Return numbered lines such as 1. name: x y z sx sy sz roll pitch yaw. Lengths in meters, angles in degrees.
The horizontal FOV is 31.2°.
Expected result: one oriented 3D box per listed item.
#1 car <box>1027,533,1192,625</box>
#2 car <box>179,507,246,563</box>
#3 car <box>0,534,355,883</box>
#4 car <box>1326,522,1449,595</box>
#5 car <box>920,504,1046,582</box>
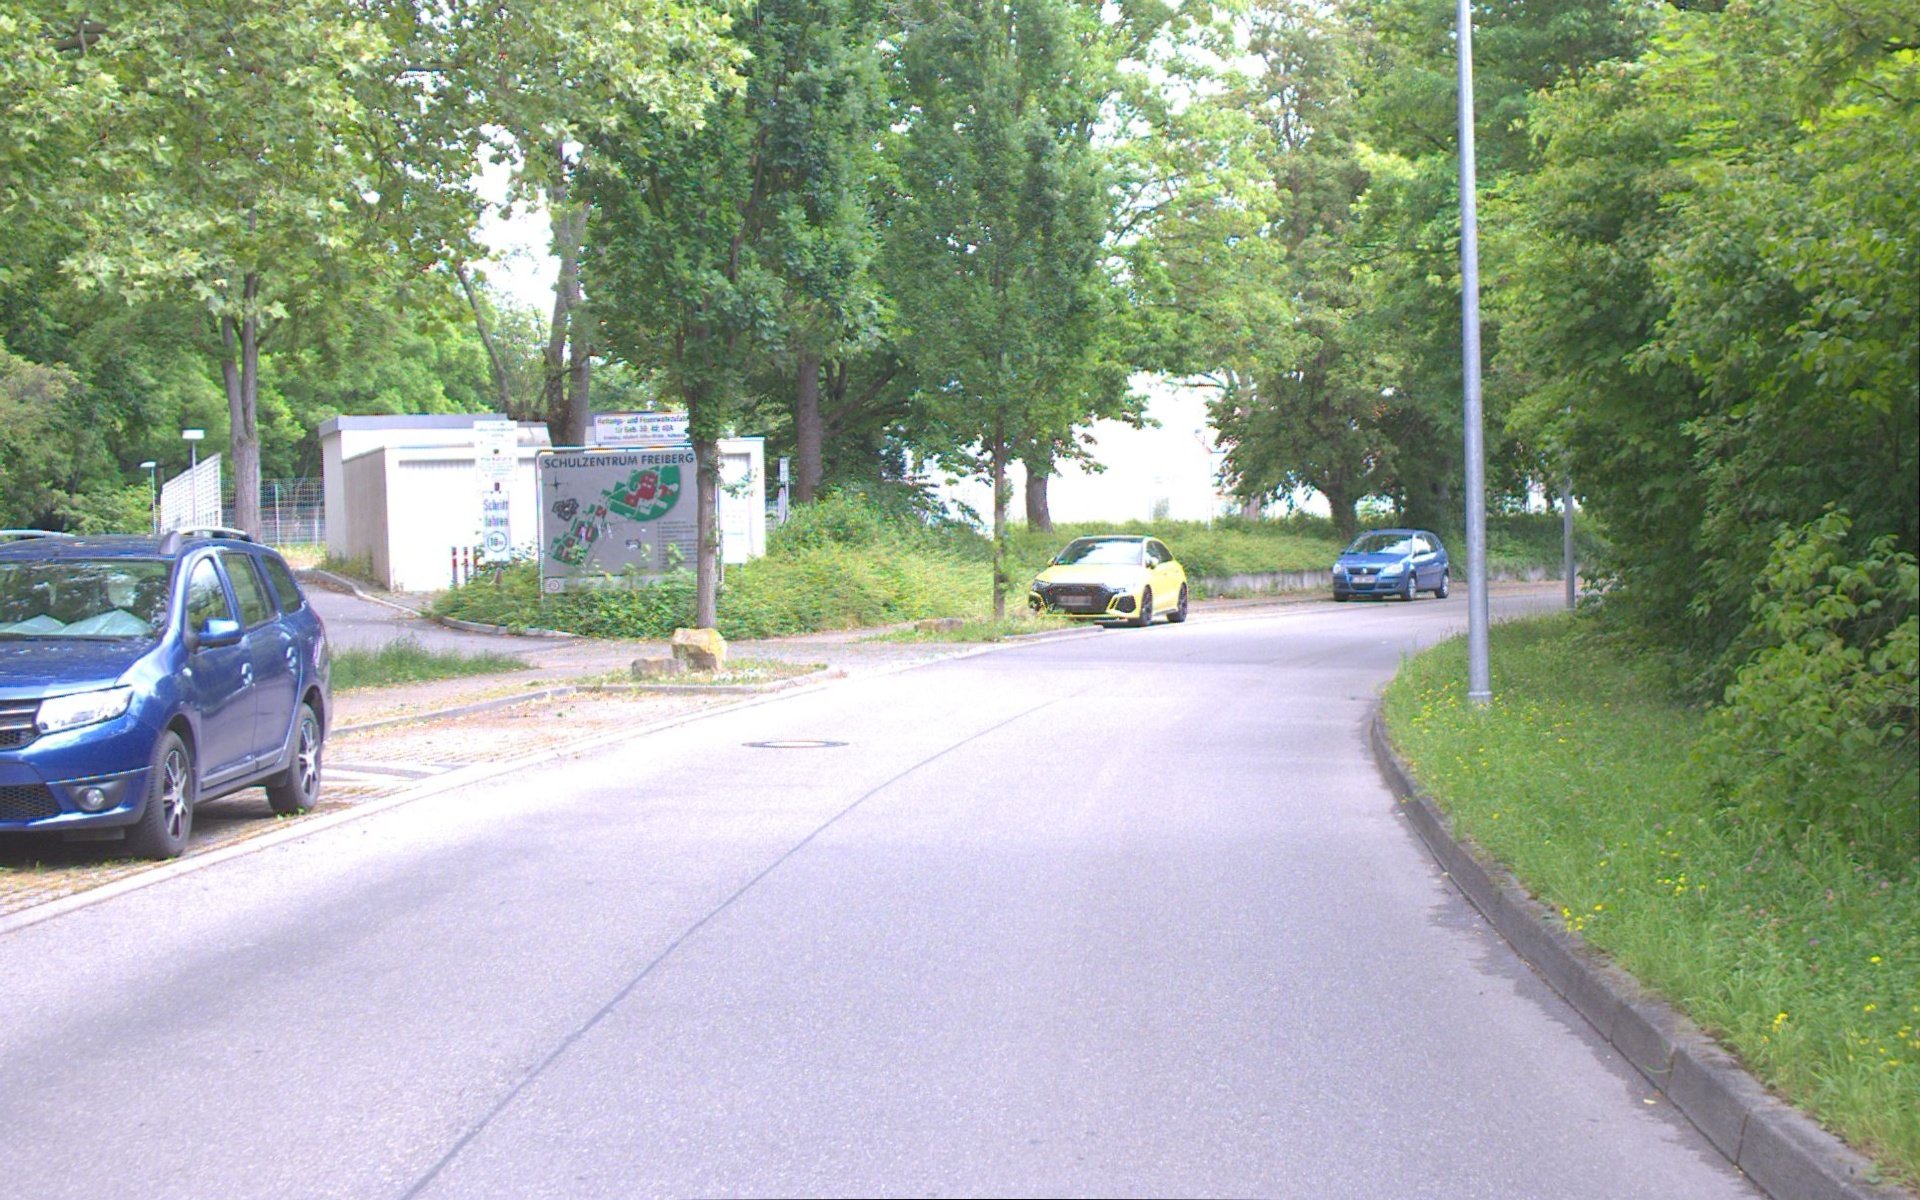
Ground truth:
1. car: 2.420 -0.355 54.709 1.701 1.398 4.270 0 1 16
2. car: -24.559 -2.147 113.051 1.872 1.740 4.001 -2 1 -9
3. car: -4.358 0.437 17.182 1.680 1.506 4.431 -1 1 3
4. car: 8.917 -0.874 71.491 1.535 1.454 3.716 0 1 24
5. car: 0.468 -1.251 74.847 1.740 1.616 3.874 -2 2 -15
